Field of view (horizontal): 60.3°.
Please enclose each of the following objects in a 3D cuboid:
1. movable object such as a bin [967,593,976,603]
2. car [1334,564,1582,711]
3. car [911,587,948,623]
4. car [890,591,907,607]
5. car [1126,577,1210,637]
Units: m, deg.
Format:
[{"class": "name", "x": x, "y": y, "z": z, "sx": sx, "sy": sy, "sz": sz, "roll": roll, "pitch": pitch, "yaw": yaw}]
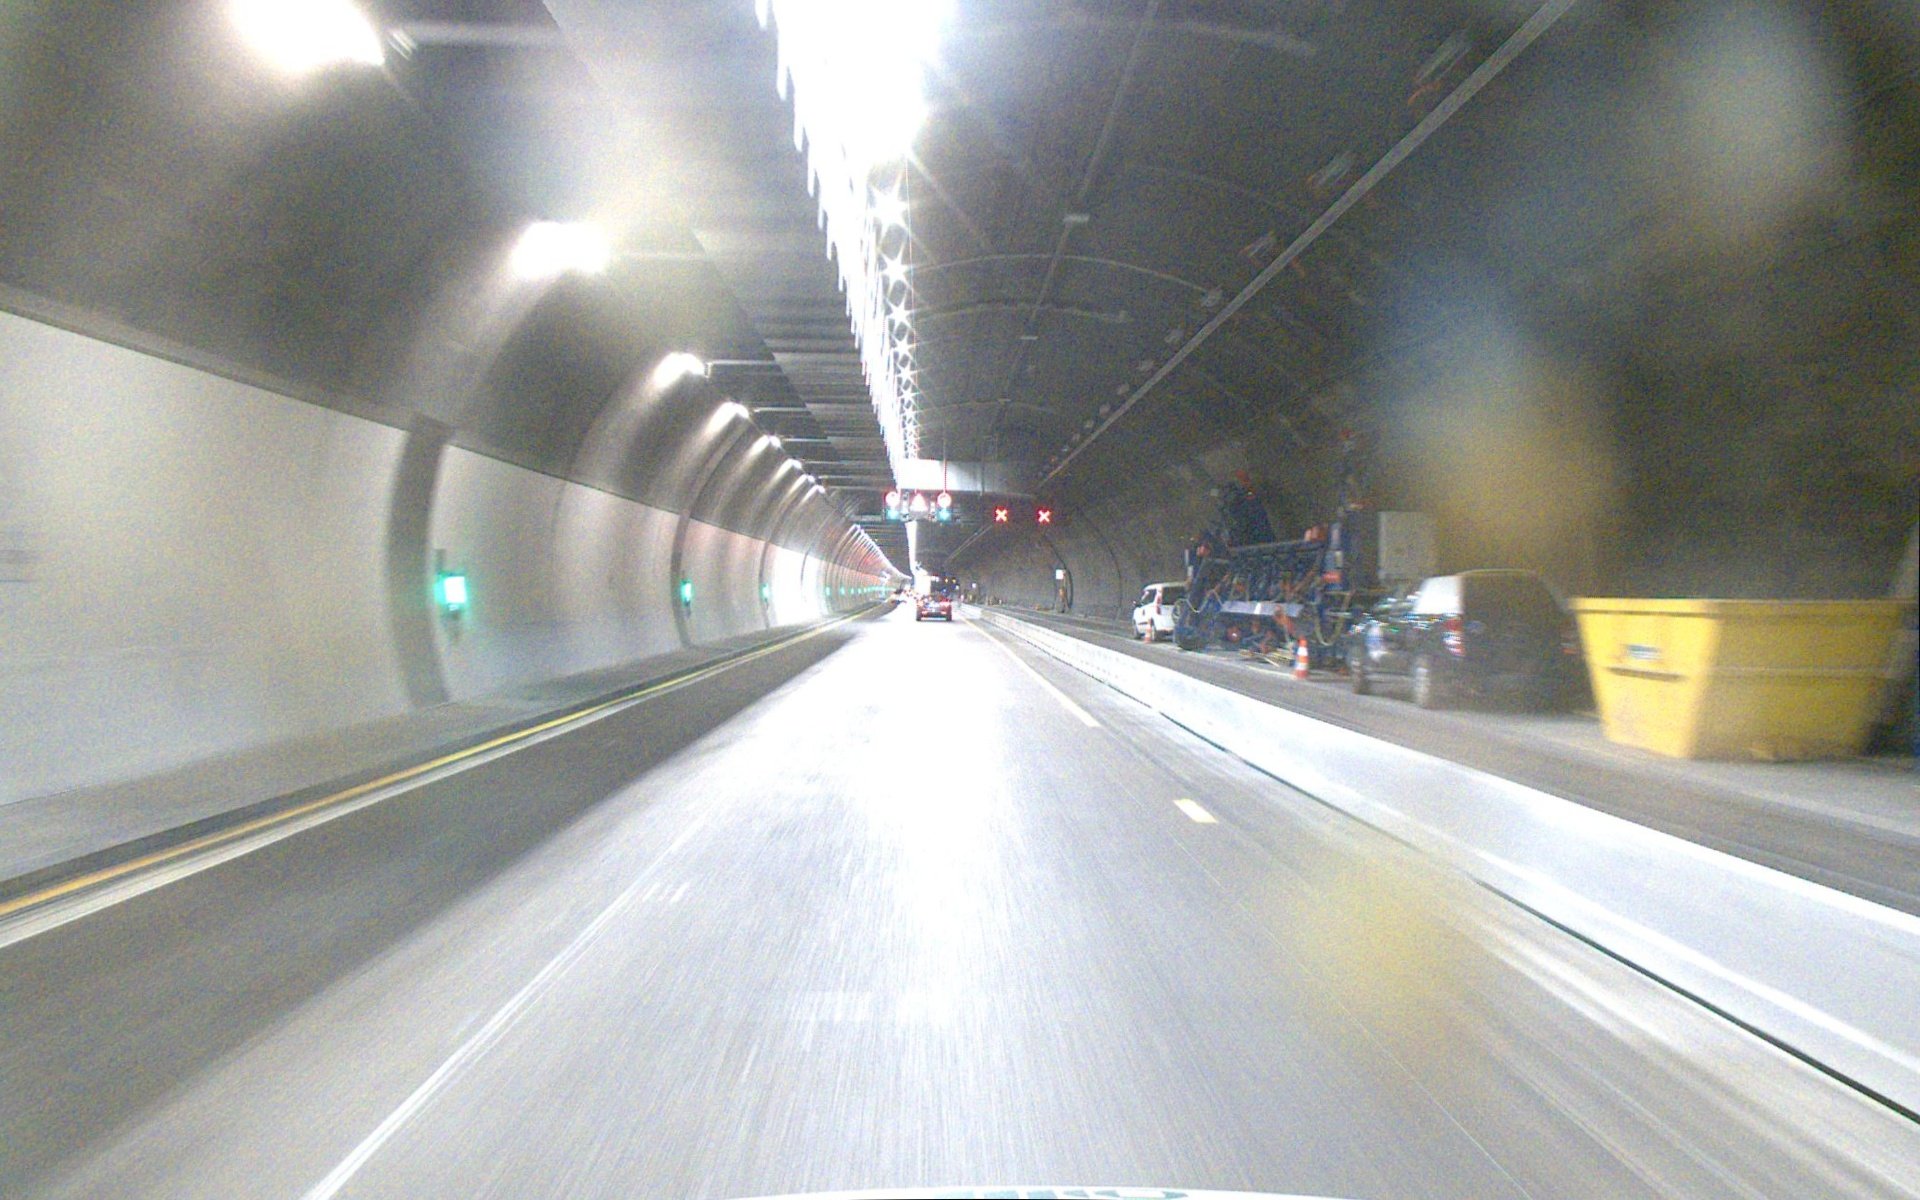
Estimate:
[{"class": "movable object such as a bin", "x": 1.754, "y": -0.305, "z": 256.448, "sx": 1.210, "sy": 1.467, "sz": 2.216, "roll": 2, "pitch": 0, "yaw": -2}, {"class": "car", "x": 7.128, "y": 0.466, "z": 24.335, "sx": 1.791, "sy": 1.891, "sz": 5.439, "roll": 1, "pitch": 0, "yaw": -2}, {"class": "car", "x": -1.601, "y": 0.230, "z": 85.920, "sx": 1.907, "sy": 1.826, "sz": 3.999, "roll": 0, "pitch": 0, "yaw": -2}, {"class": "car", "x": -6.966, "y": -0.127, "z": 187.443, "sx": 1.891, "sy": 1.716, "sz": 3.999, "roll": 0, "pitch": 0, "yaw": -1}, {"class": "car", "x": 6.759, "y": 0.201, "z": 54.177, "sx": 1.717, "sy": 1.877, "sz": 4.640, "roll": -1, "pitch": 0, "yaw": -6}]
